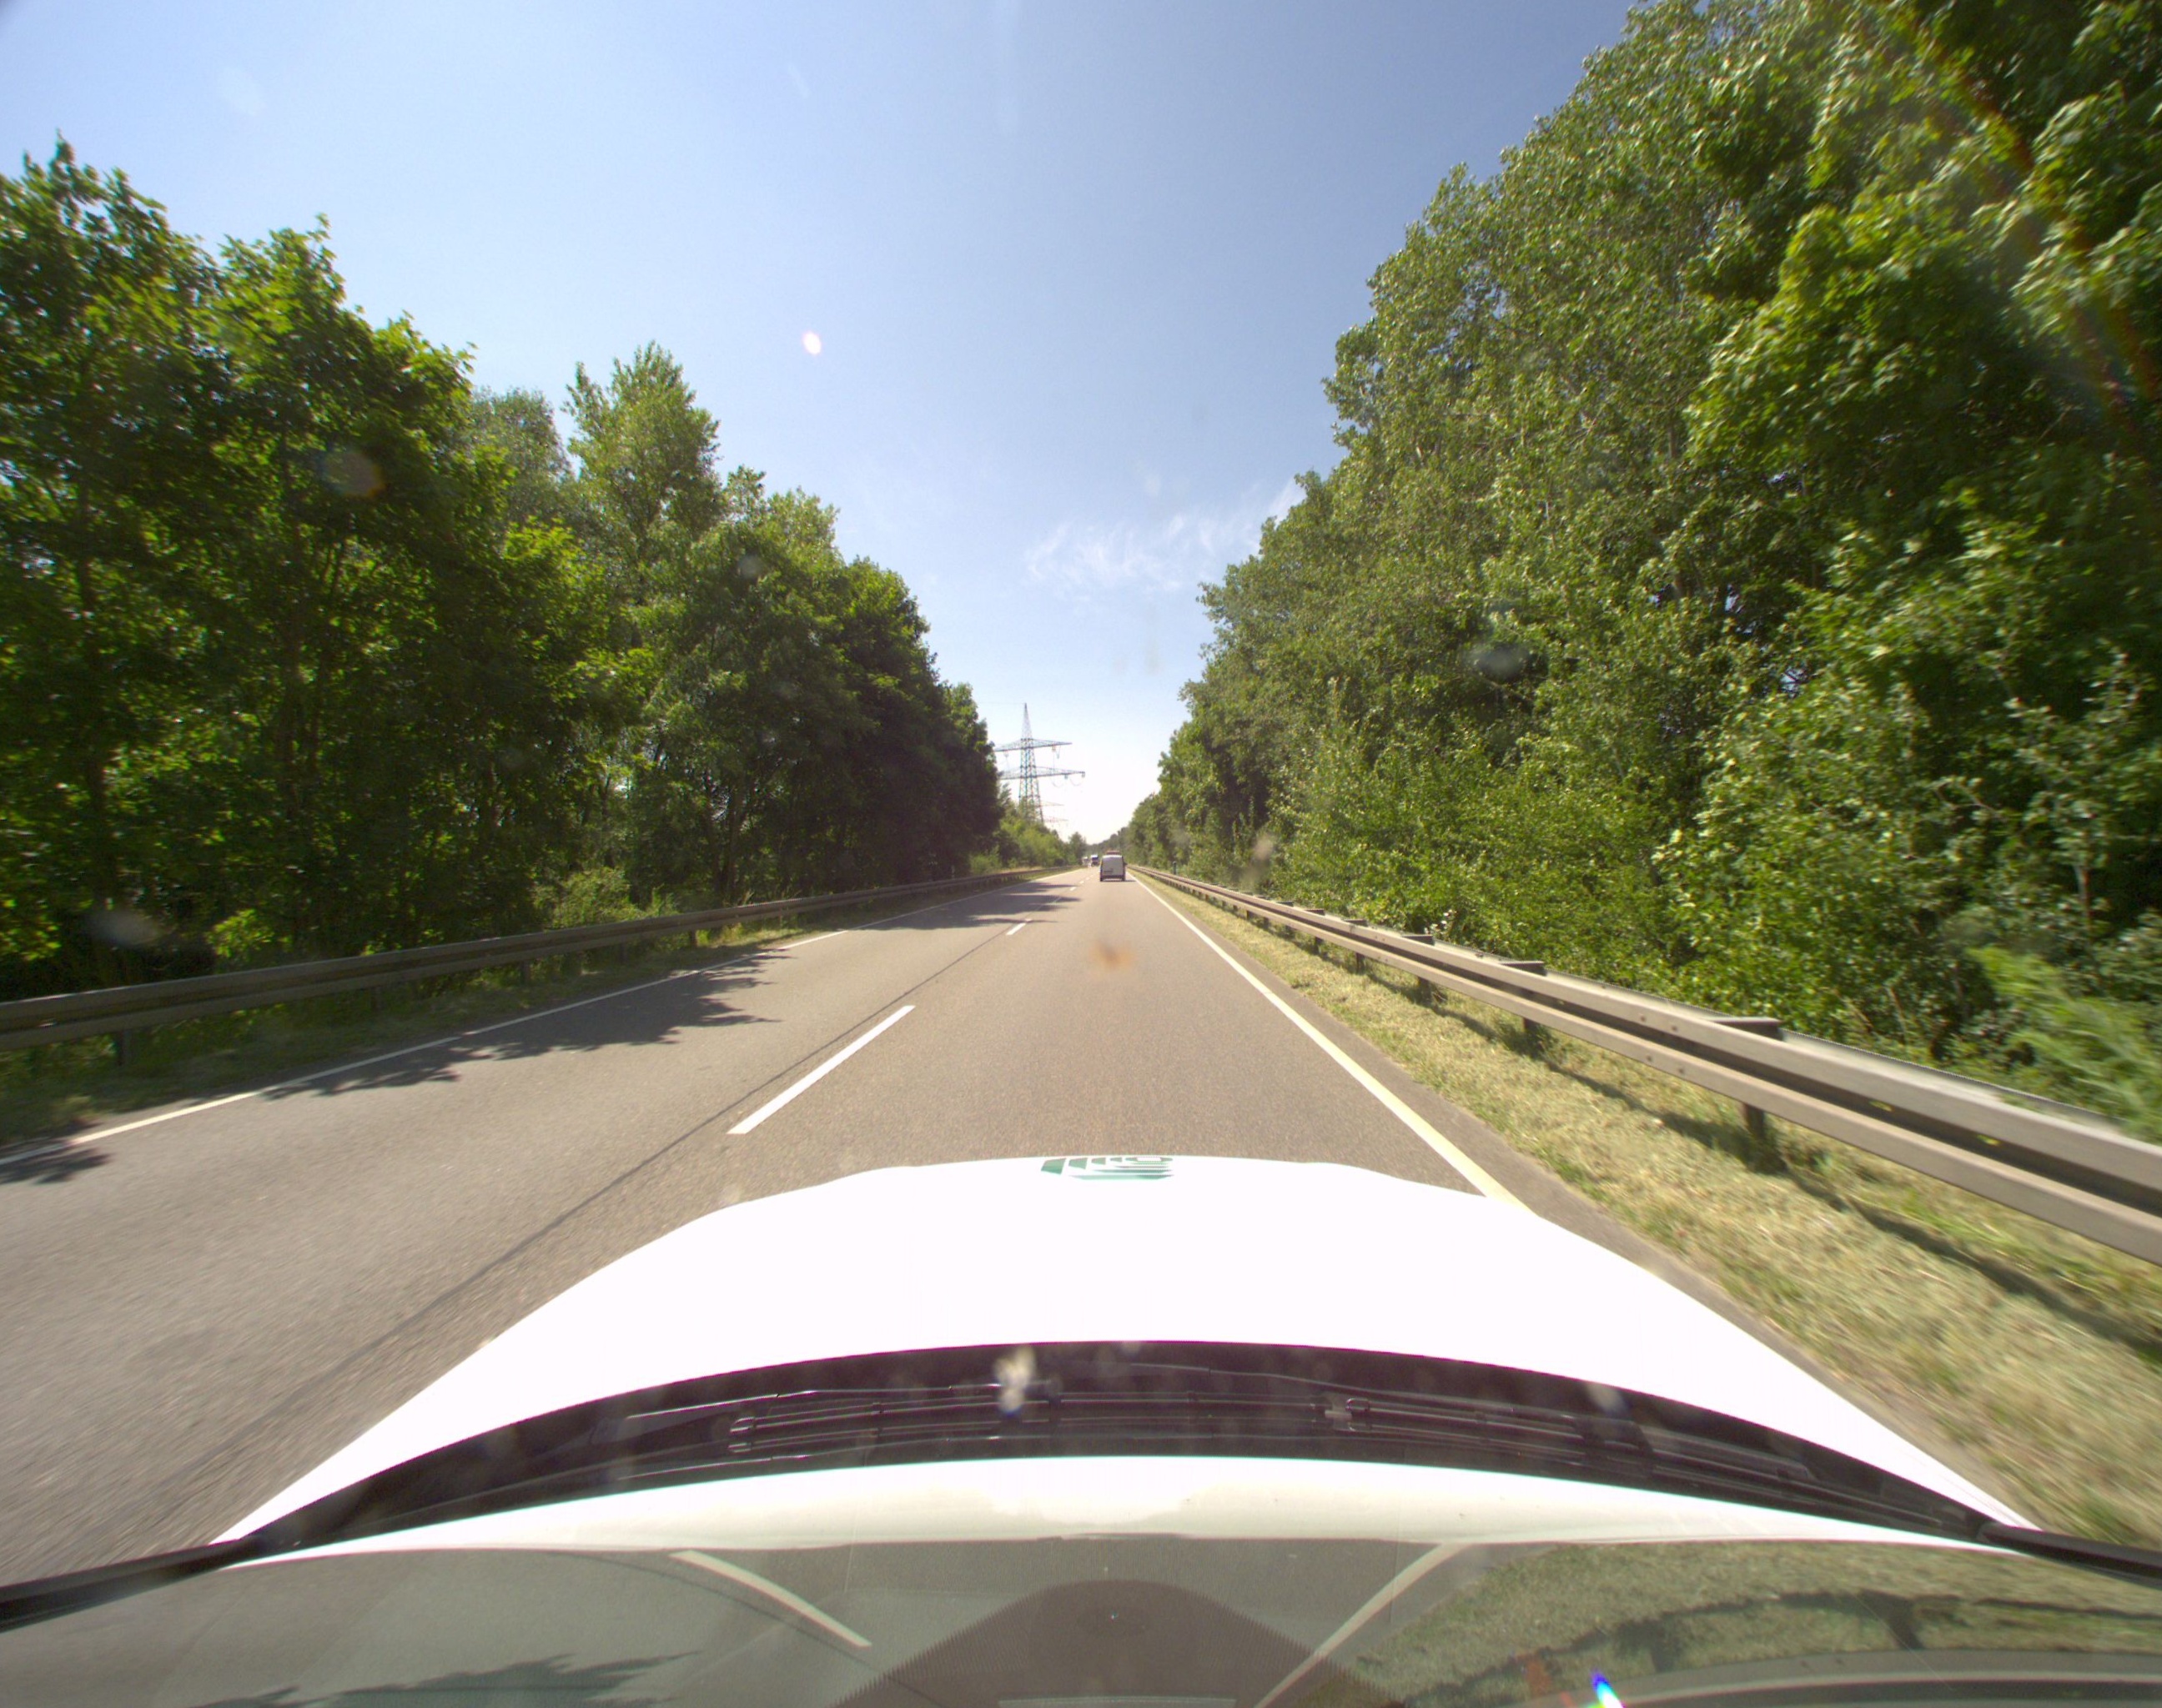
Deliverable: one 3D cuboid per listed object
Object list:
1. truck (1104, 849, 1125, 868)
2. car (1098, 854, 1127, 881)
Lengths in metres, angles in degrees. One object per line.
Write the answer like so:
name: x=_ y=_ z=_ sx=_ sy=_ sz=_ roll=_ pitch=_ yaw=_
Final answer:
truck: x=6.094 y=0.733 z=149.764 sx=3.286 sy=3.172 sz=14.402 roll=-1 pitch=0 yaw=0
car: x=2.165 y=0.880 z=56.277 sx=1.868 sy=1.741 sz=4.002 roll=-1 pitch=0 yaw=2
